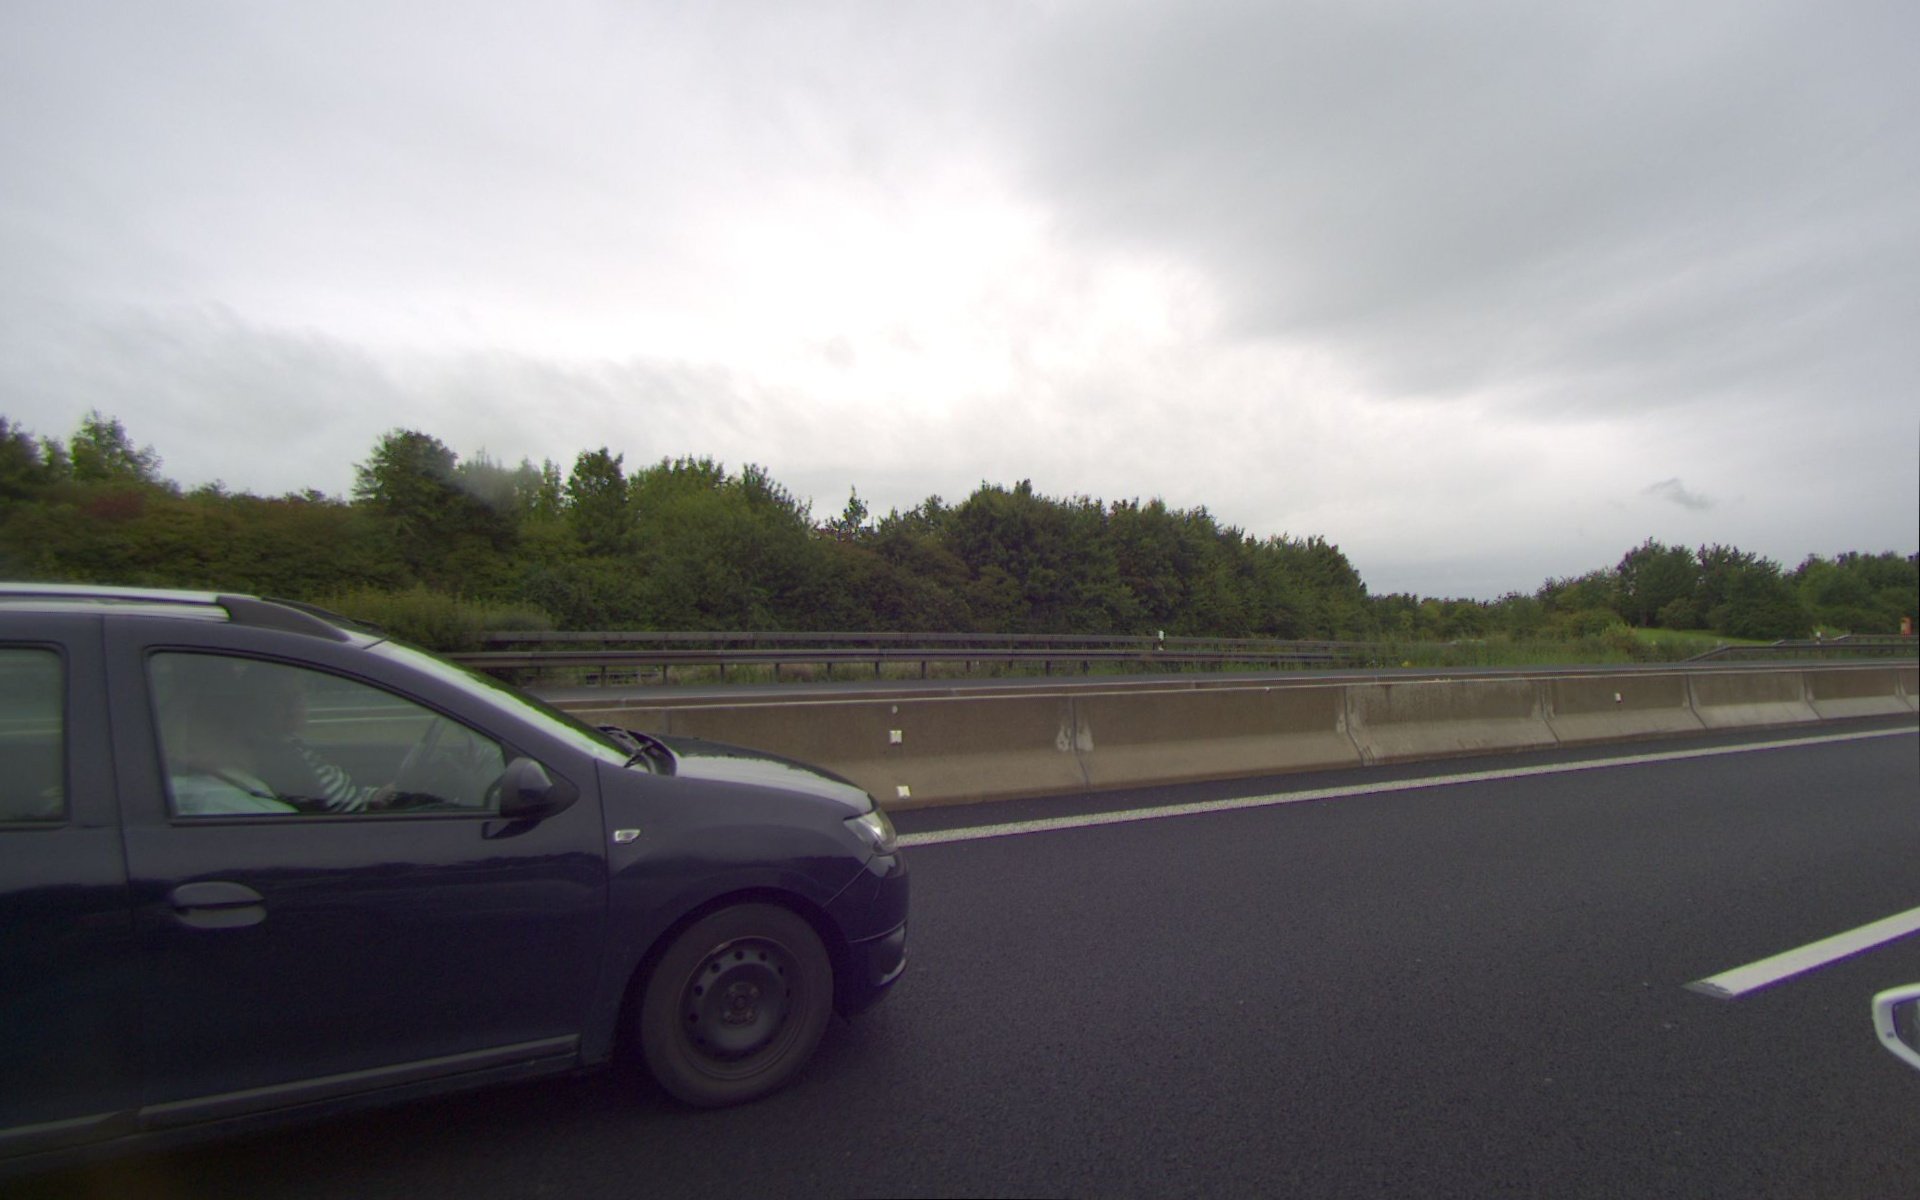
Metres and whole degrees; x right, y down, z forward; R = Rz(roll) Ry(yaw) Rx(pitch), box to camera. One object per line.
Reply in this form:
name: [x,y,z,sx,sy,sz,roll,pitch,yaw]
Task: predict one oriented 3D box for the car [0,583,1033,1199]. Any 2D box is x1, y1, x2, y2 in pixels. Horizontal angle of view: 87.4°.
car: [-2.129,0.744,3.062,4.512,1.509,1.714,1,-2,-29]
